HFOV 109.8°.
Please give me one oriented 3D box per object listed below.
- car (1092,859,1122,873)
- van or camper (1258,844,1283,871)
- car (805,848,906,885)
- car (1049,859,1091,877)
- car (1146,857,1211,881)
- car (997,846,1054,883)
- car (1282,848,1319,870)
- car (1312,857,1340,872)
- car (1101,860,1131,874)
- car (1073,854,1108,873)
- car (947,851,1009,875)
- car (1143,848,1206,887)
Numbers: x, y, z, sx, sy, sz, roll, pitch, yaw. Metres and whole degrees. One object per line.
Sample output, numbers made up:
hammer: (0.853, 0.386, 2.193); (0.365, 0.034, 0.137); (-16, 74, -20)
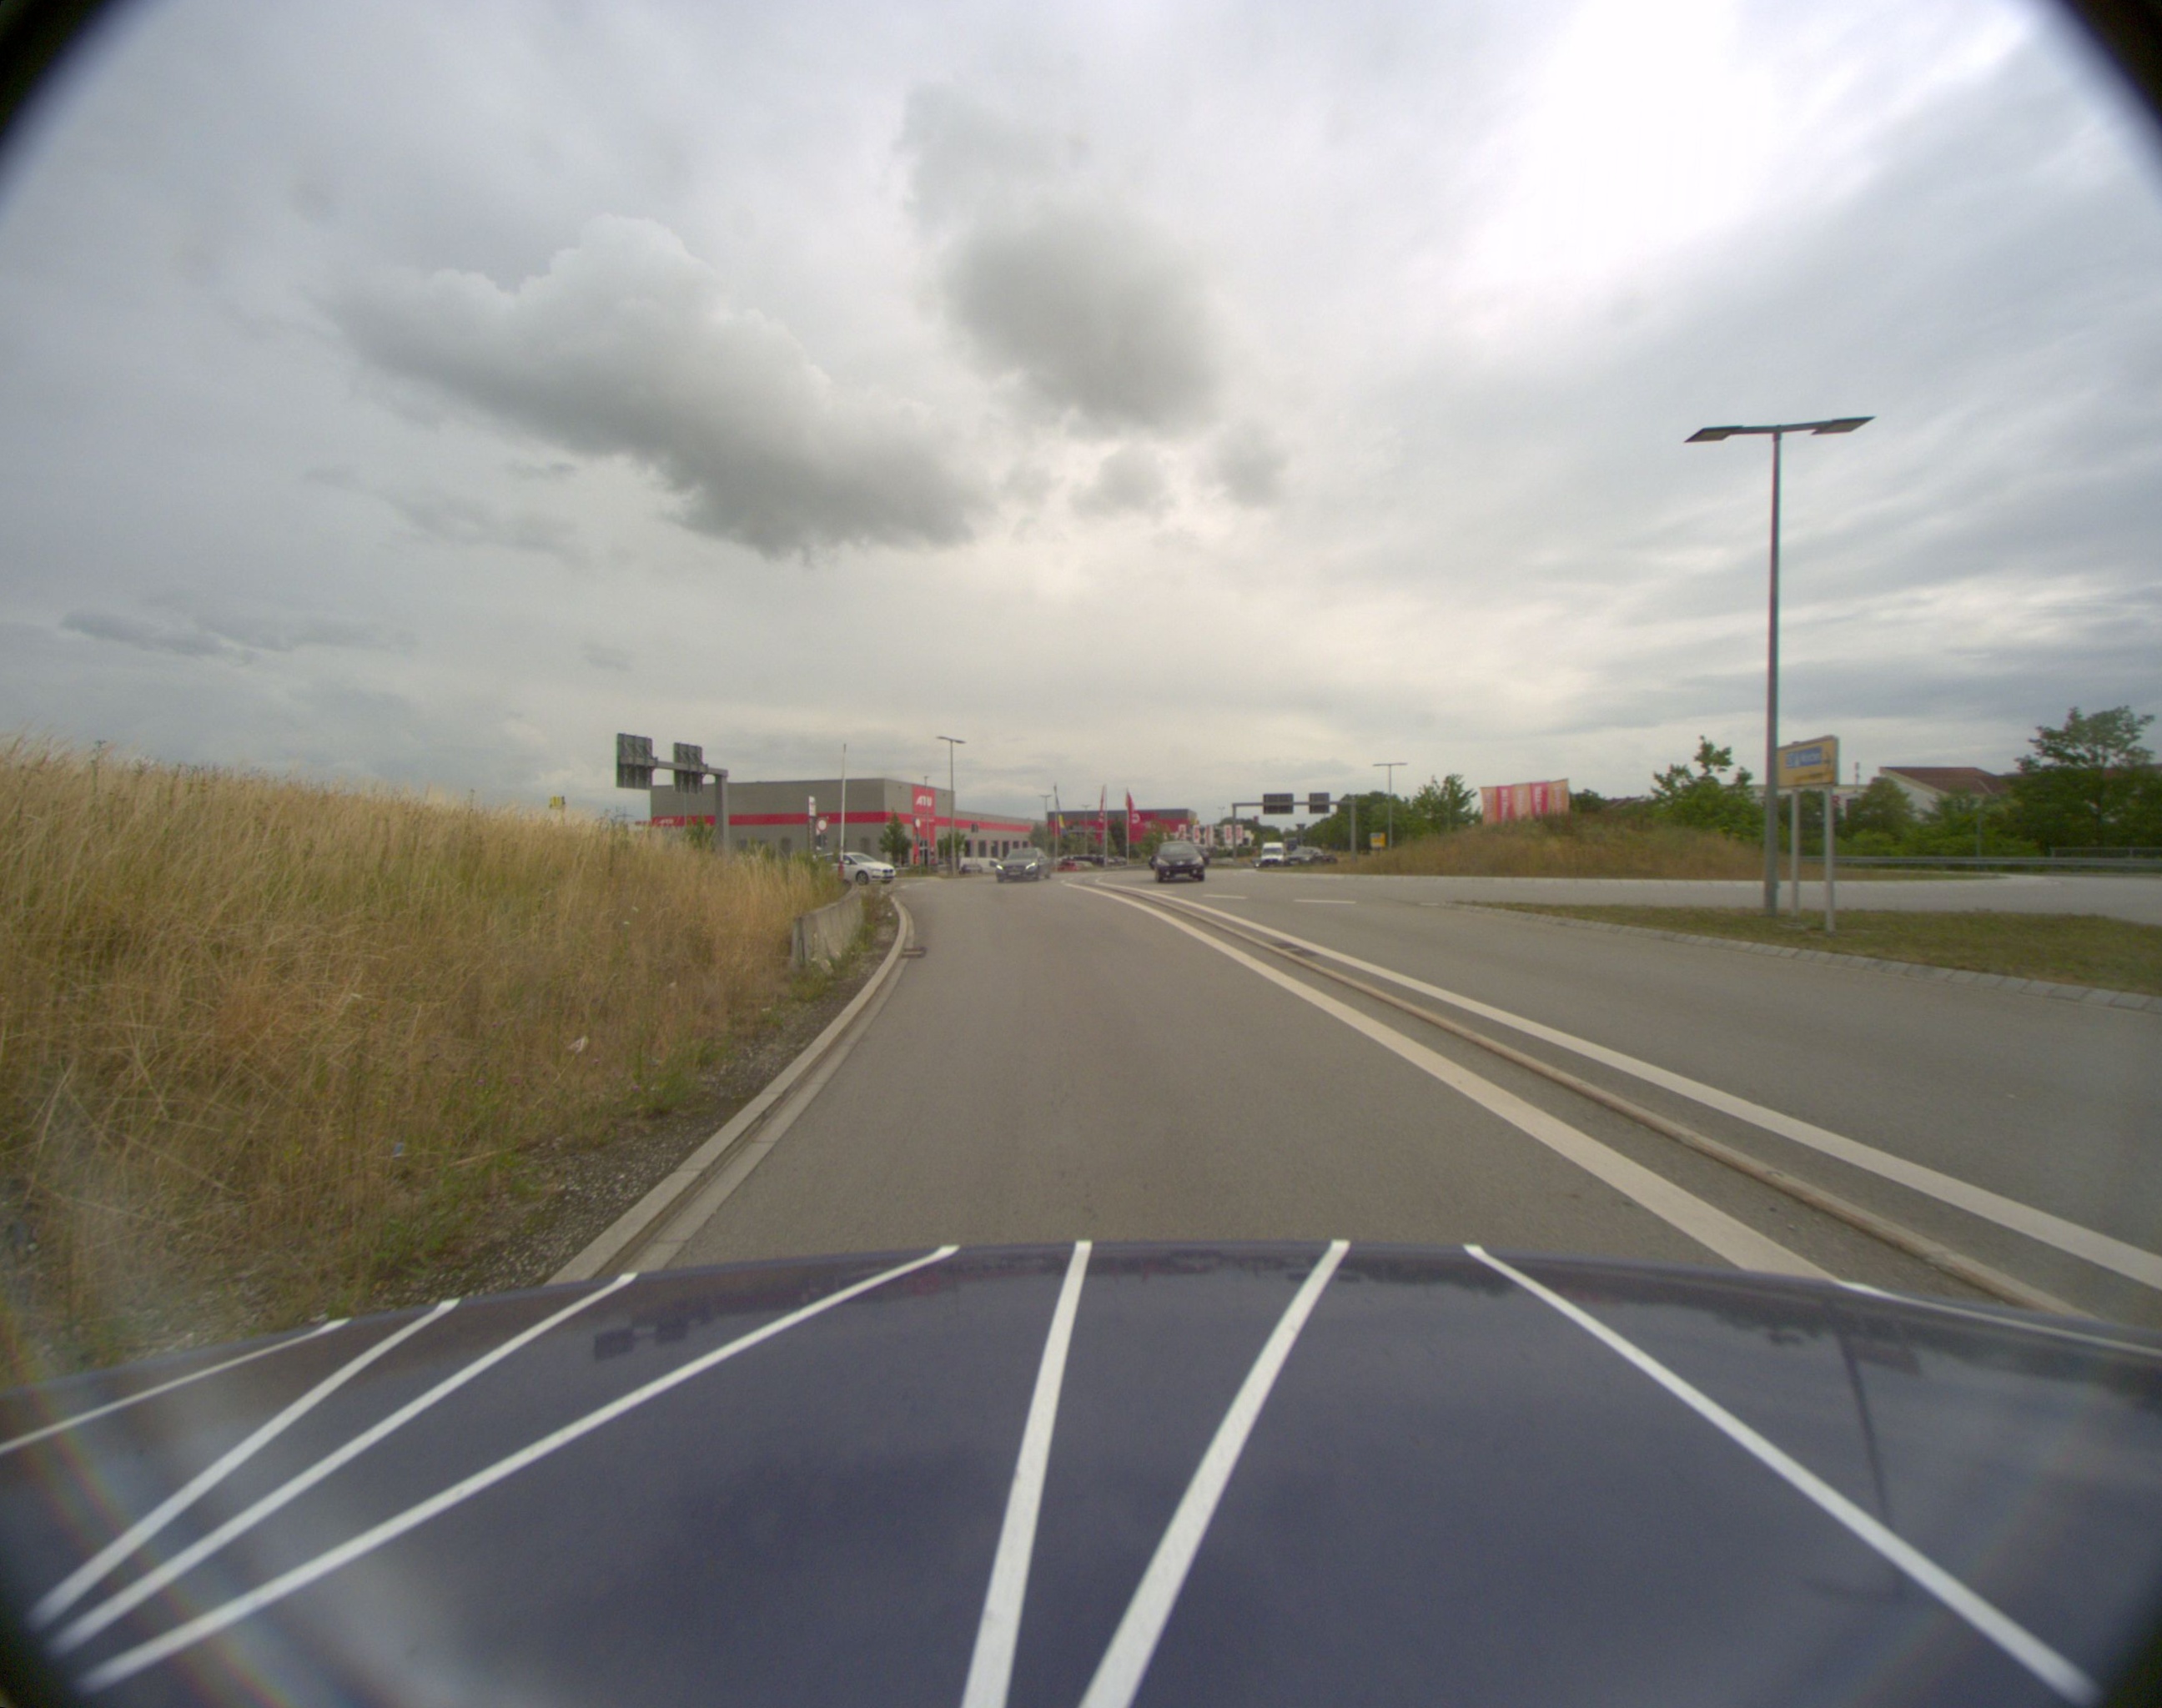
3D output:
car: (3.134, 1.491, 92.556); (1.653, 1.612, 4.068); (0, -2, -31)
van or camper: (17.553, 0.295, 70.110); (2.049, 2.350, 5.547); (-2, 1, 15)
car: (-10.757, 0.591, 36.226); (4.417, 1.619, 1.787); (-1, 1, 24)
car: (-1.048, 1.342, 72.125); (1.774, 1.570, 4.066); (-2, 1, -41)
car: (6.650, 0.965, 51.554); (4.566, 1.404, 1.856); (-2, 1, -44)
car: (-2.402, 0.415, 33.809); (1.764, 1.412, 4.091); (-3, 1, 6)
car: (14.071, 0.295, 48.573); (1.576, 1.261, 3.320); (-1, 1, 29)
car: (33.149, 1.364, 102.851); (2.104, 1.781, 5.048); (0, 2, -1)
car: (4.379, 1.643, 94.969); (1.740, 1.612, 4.068); (0, -2, -31)
car: (1.053, 1.065, 83.265); (1.910, 1.895, 4.068); (4, -4, -31)
car: (-9.222, 0.816, 68.098); (5.071, 2.035, 2.001); (-1, 0, 9)
car: (3.425, 0.491, 28.476); (1.580, 1.346, 3.822); (-1, 0, -5)
